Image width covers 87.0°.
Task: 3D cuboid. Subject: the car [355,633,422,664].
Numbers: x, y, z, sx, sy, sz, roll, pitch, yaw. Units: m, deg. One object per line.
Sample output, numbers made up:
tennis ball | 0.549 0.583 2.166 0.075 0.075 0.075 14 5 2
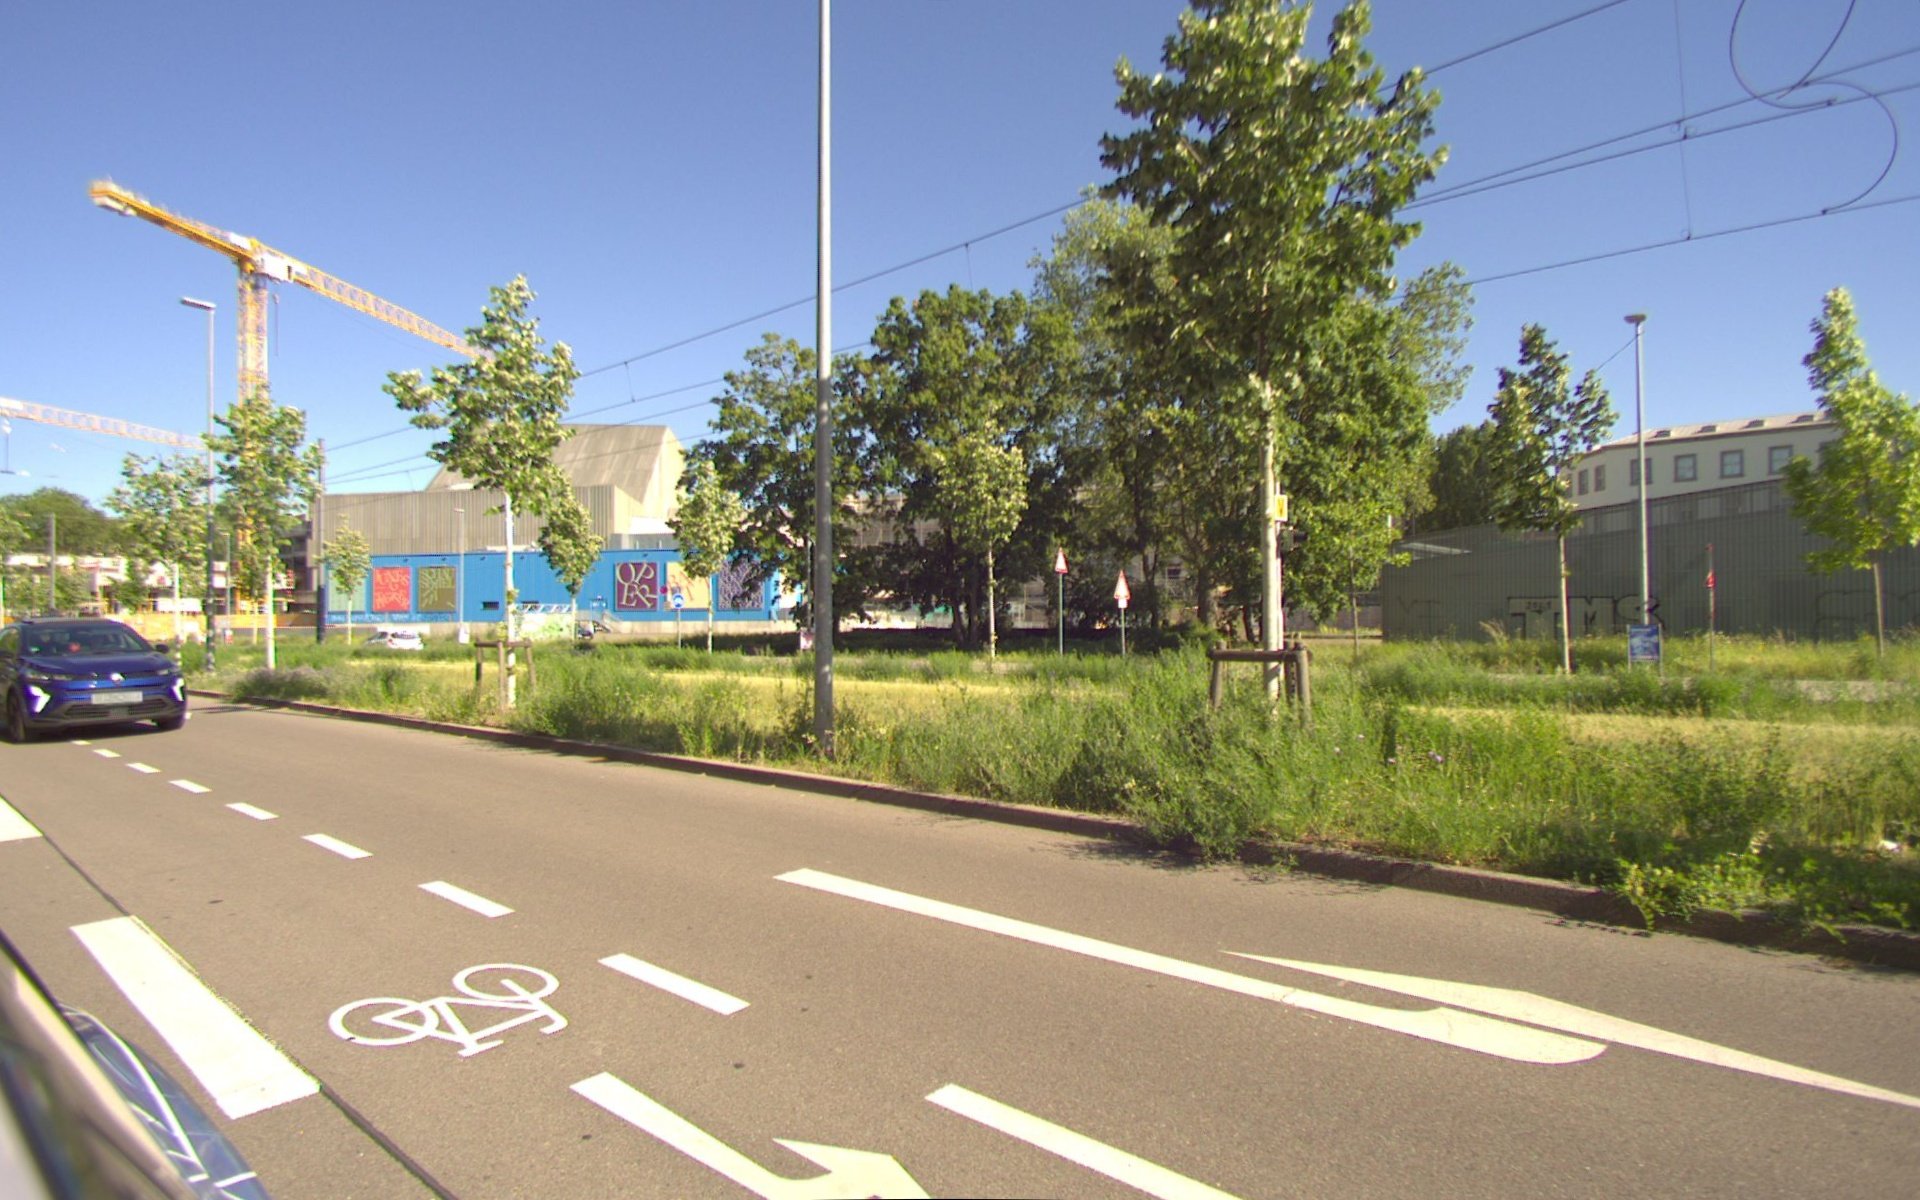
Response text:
car | -28.057 2.356 49.605 3.829 1.409 1.616 -2 -2 40

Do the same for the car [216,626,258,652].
car | -56.109 2.998 78.541 3.998 1.811 1.779 -1 1 42

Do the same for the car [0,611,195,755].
car | -12.472 1.065 14.135 4.145 1.634 1.729 -2 1 37
